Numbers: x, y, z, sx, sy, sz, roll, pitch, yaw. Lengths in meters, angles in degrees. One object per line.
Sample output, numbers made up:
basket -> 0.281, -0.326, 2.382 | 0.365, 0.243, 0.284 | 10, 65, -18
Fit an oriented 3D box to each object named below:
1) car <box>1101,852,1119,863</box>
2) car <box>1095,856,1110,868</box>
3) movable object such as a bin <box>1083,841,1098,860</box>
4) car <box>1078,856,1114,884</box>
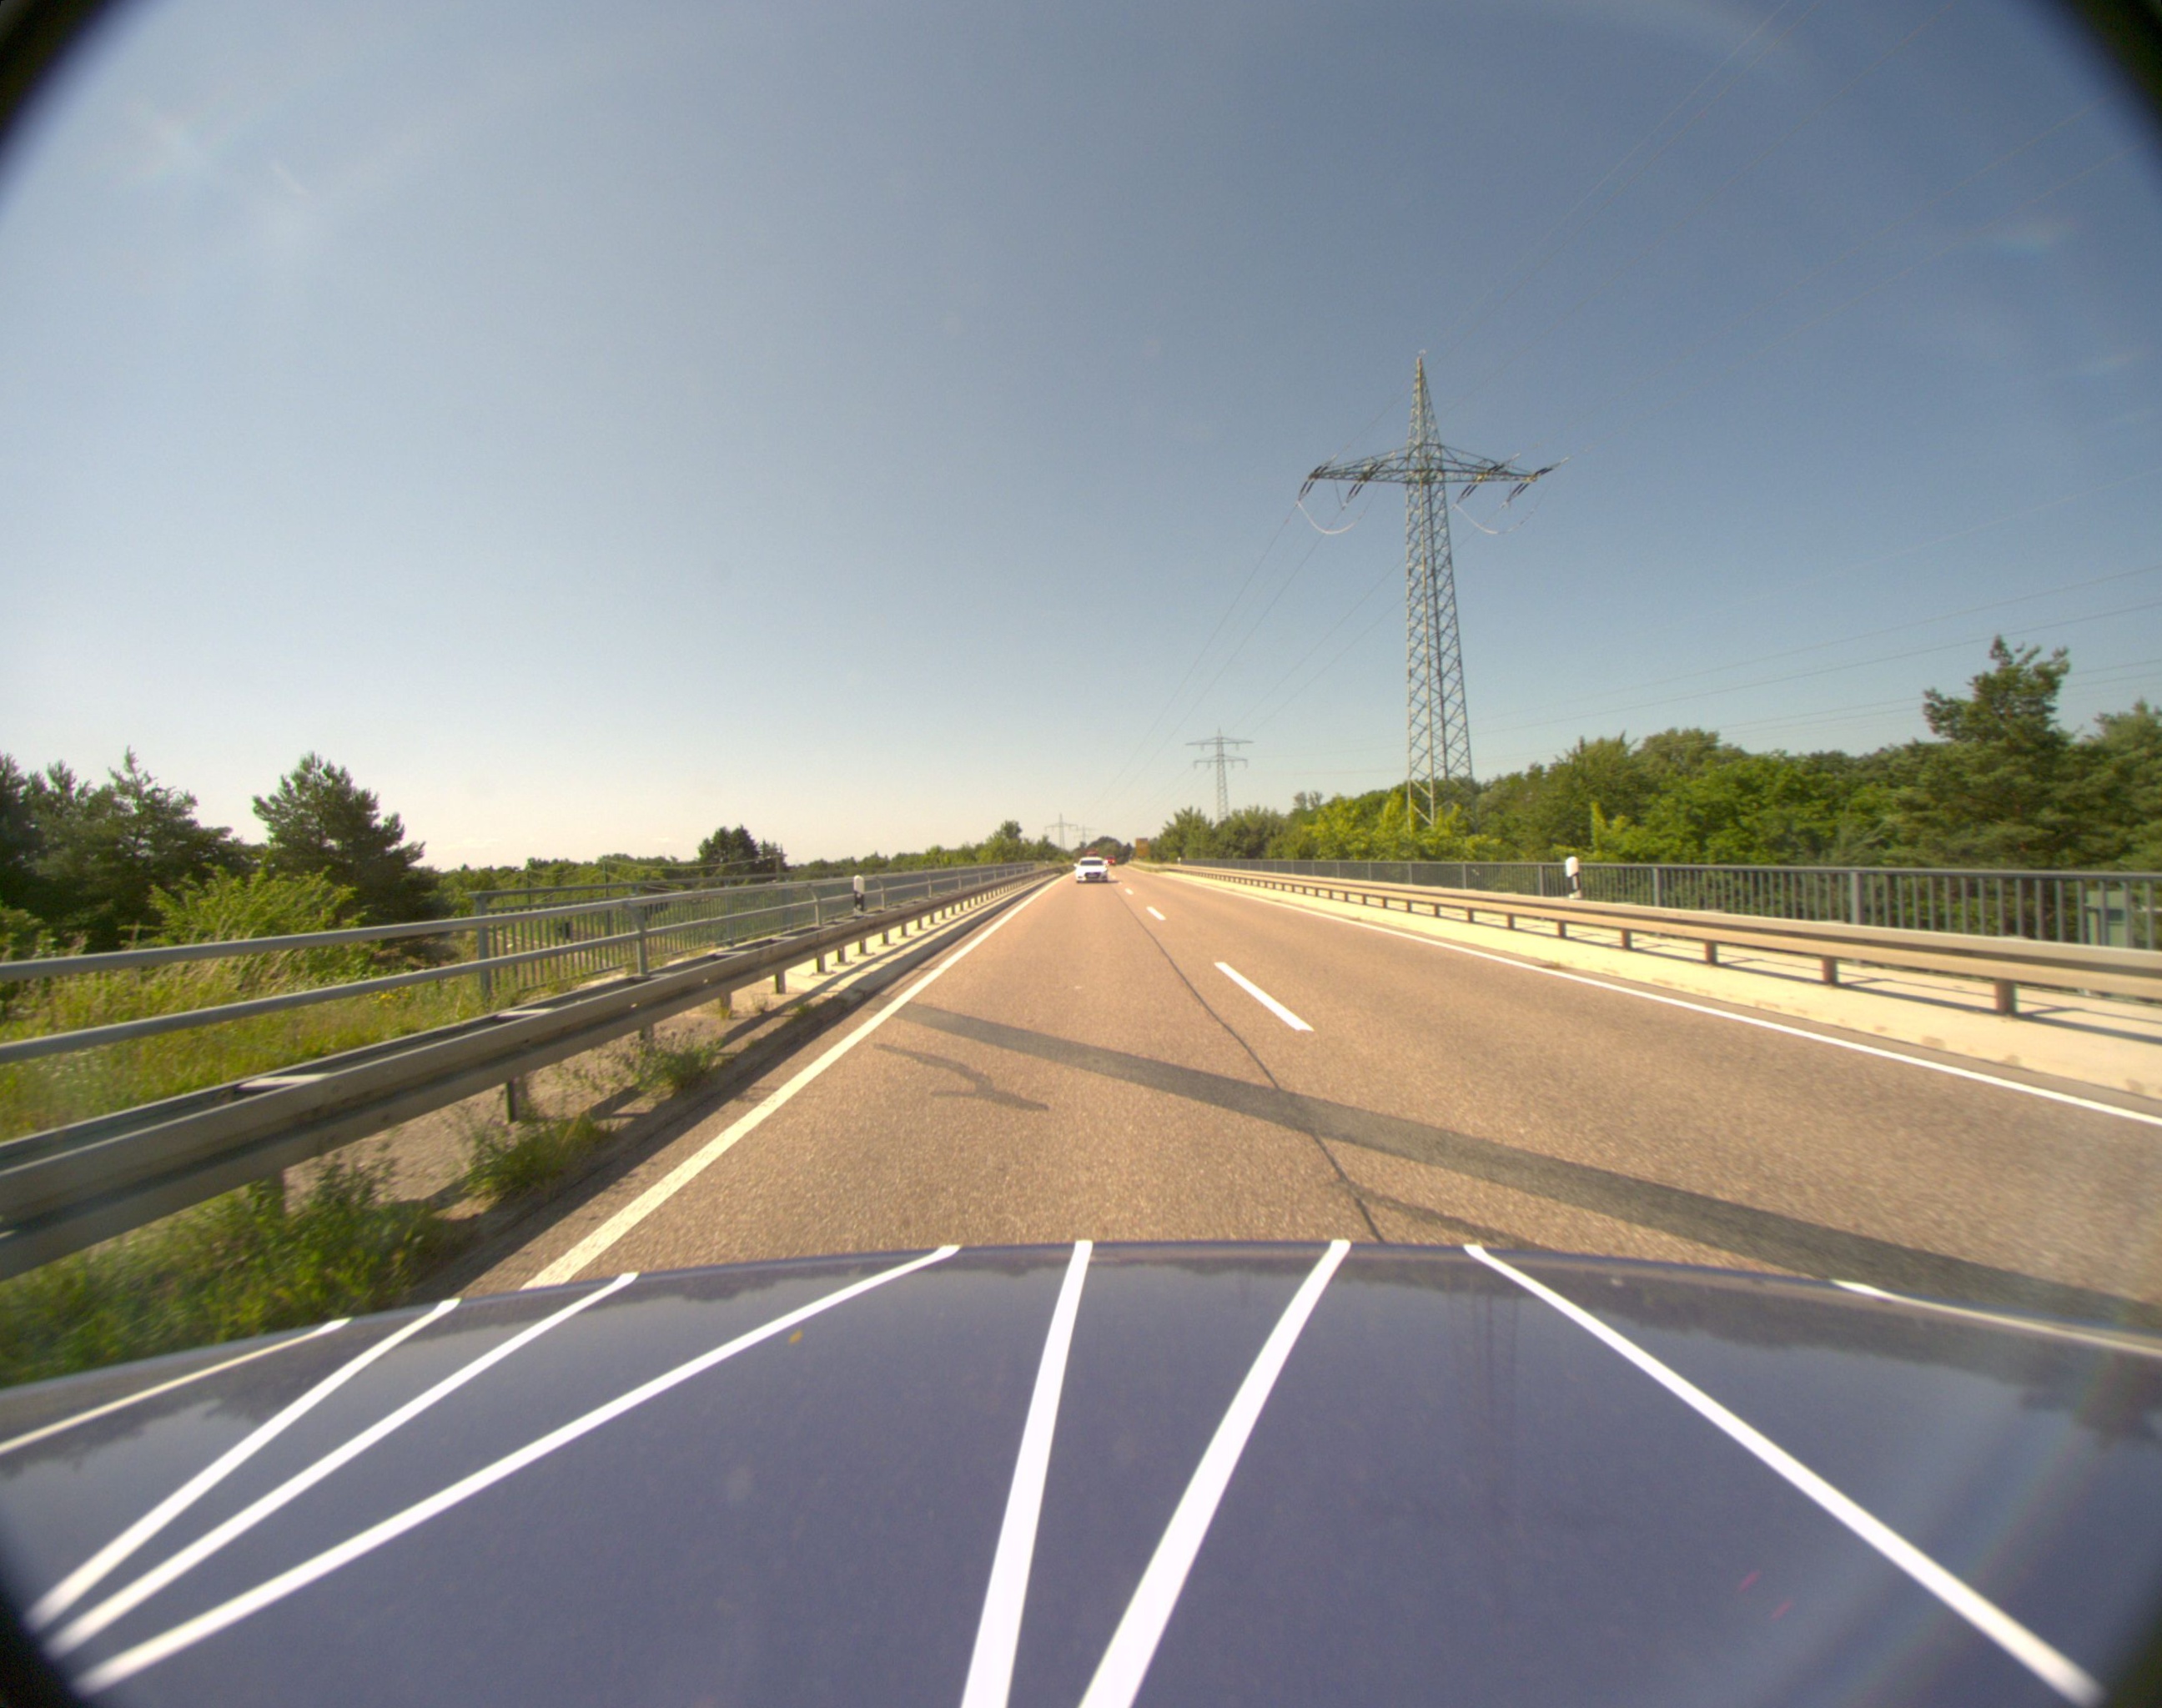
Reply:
car -> 5.391, 0.562, 141.168 | 2.123, 1.934, 5.025 | -2, -1, 16
car -> 2.884, 1.050, 101.526 | 1.922, 1.539, 4.794 | -2, -1, 2
movable object such as a bin -> 2.034, -0.663, 156.151 | 2.760, 3.816, 9.447 | -2, -1, 2
car -> 0.830, 0.887, 43.760 | 1.923, 1.496, 4.794 | -2, -1, 0
